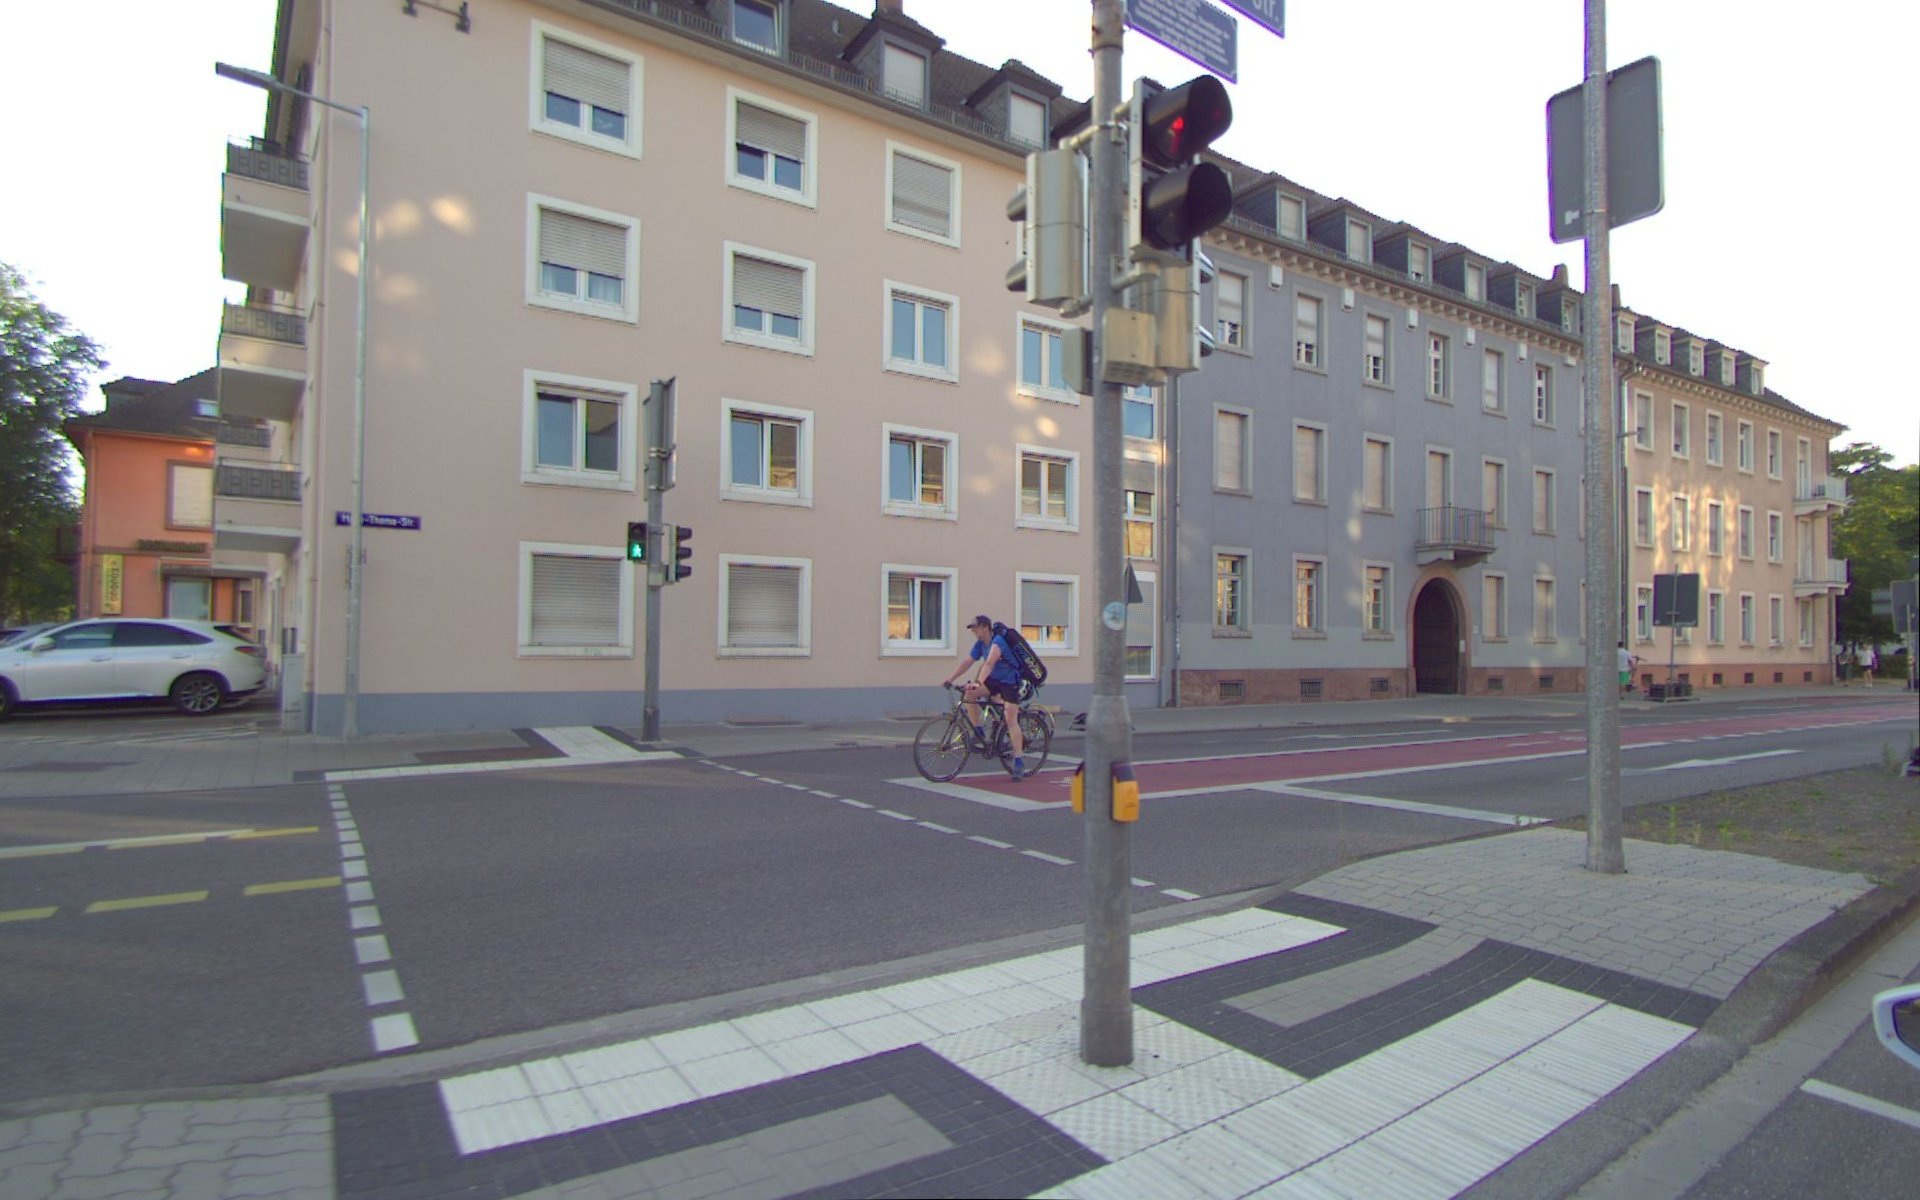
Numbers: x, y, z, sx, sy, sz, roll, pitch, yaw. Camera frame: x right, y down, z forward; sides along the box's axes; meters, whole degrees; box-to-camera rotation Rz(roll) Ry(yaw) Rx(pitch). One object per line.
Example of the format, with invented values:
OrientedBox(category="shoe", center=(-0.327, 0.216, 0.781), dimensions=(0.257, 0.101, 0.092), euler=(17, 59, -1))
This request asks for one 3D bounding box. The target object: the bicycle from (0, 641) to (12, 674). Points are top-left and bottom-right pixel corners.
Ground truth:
OrientedBox(category="bicycle", center=(-33.313, 1.948, 33.918), dimensions=(1.860, 1.118, 0.603), euler=(2, -2, -44))

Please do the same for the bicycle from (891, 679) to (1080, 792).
OrientedBox(category="bicycle", center=(0.294, 1.421, 10.862), dimensions=(1.978, 1.081, 0.717), euler=(2, -3, -30))

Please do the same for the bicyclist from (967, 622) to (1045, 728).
OrientedBox(category="bicyclist", center=(0.655, 1.049, 14.308), dimensions=(0.884, 1.458, 0.707), euler=(2, -3, -30))

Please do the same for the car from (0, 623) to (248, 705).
OrientedBox(category="car", center=(-18.973, 1.395, 22.906), dimensions=(4.394, 1.626, 1.895), euler=(0, -2, -39))

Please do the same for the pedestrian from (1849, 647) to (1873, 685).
OrientedBox(category="pedestrian", center=(38.439, 2.812, 42.861), dimensions=(0.718, 1.595, 0.610), euler=(2, -3, -39))

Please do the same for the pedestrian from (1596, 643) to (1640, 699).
OrientedBox(category="pedestrian", center=(20.439, 2.193, 31.199), dimensions=(0.801, 1.674, 0.870), euler=(5, -4, -31))

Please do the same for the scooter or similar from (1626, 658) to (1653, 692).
OrientedBox(category="scooter or similar", center=(23.132, 2.547, 34.206), dimensions=(0.850, 1.143, 0.394), euler=(1, -2, -28))

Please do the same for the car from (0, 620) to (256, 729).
OrientedBox(category="car", center=(-14.829, 1.221, 17.225), dimensions=(4.416, 1.662, 1.921), euler=(0, -2, -39))

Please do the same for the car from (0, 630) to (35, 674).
OrientedBox(category="car", center=(-41.696, 2.261, 43.848), dimensions=(1.821, 1.783, 4.985), euler=(-3, 1, -43))

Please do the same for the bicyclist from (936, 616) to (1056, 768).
OrientedBox(category="bicyclist", center=(0.394, 0.976, 10.942), dimensions=(1.112, 1.564, 0.707), euler=(2, -3, -30))

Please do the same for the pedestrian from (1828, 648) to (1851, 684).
OrientedBox(category="pedestrian", center=(38.021, 2.840, 43.433), dimensions=(0.685, 1.554, 0.610), euler=(2, -3, -39))

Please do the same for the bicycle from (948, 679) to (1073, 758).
OrientedBox(category="bicycle", center=(0.724, 1.663, 14.324), dimensions=(1.669, 1.023, 0.717), euler=(2, -3, -30))
